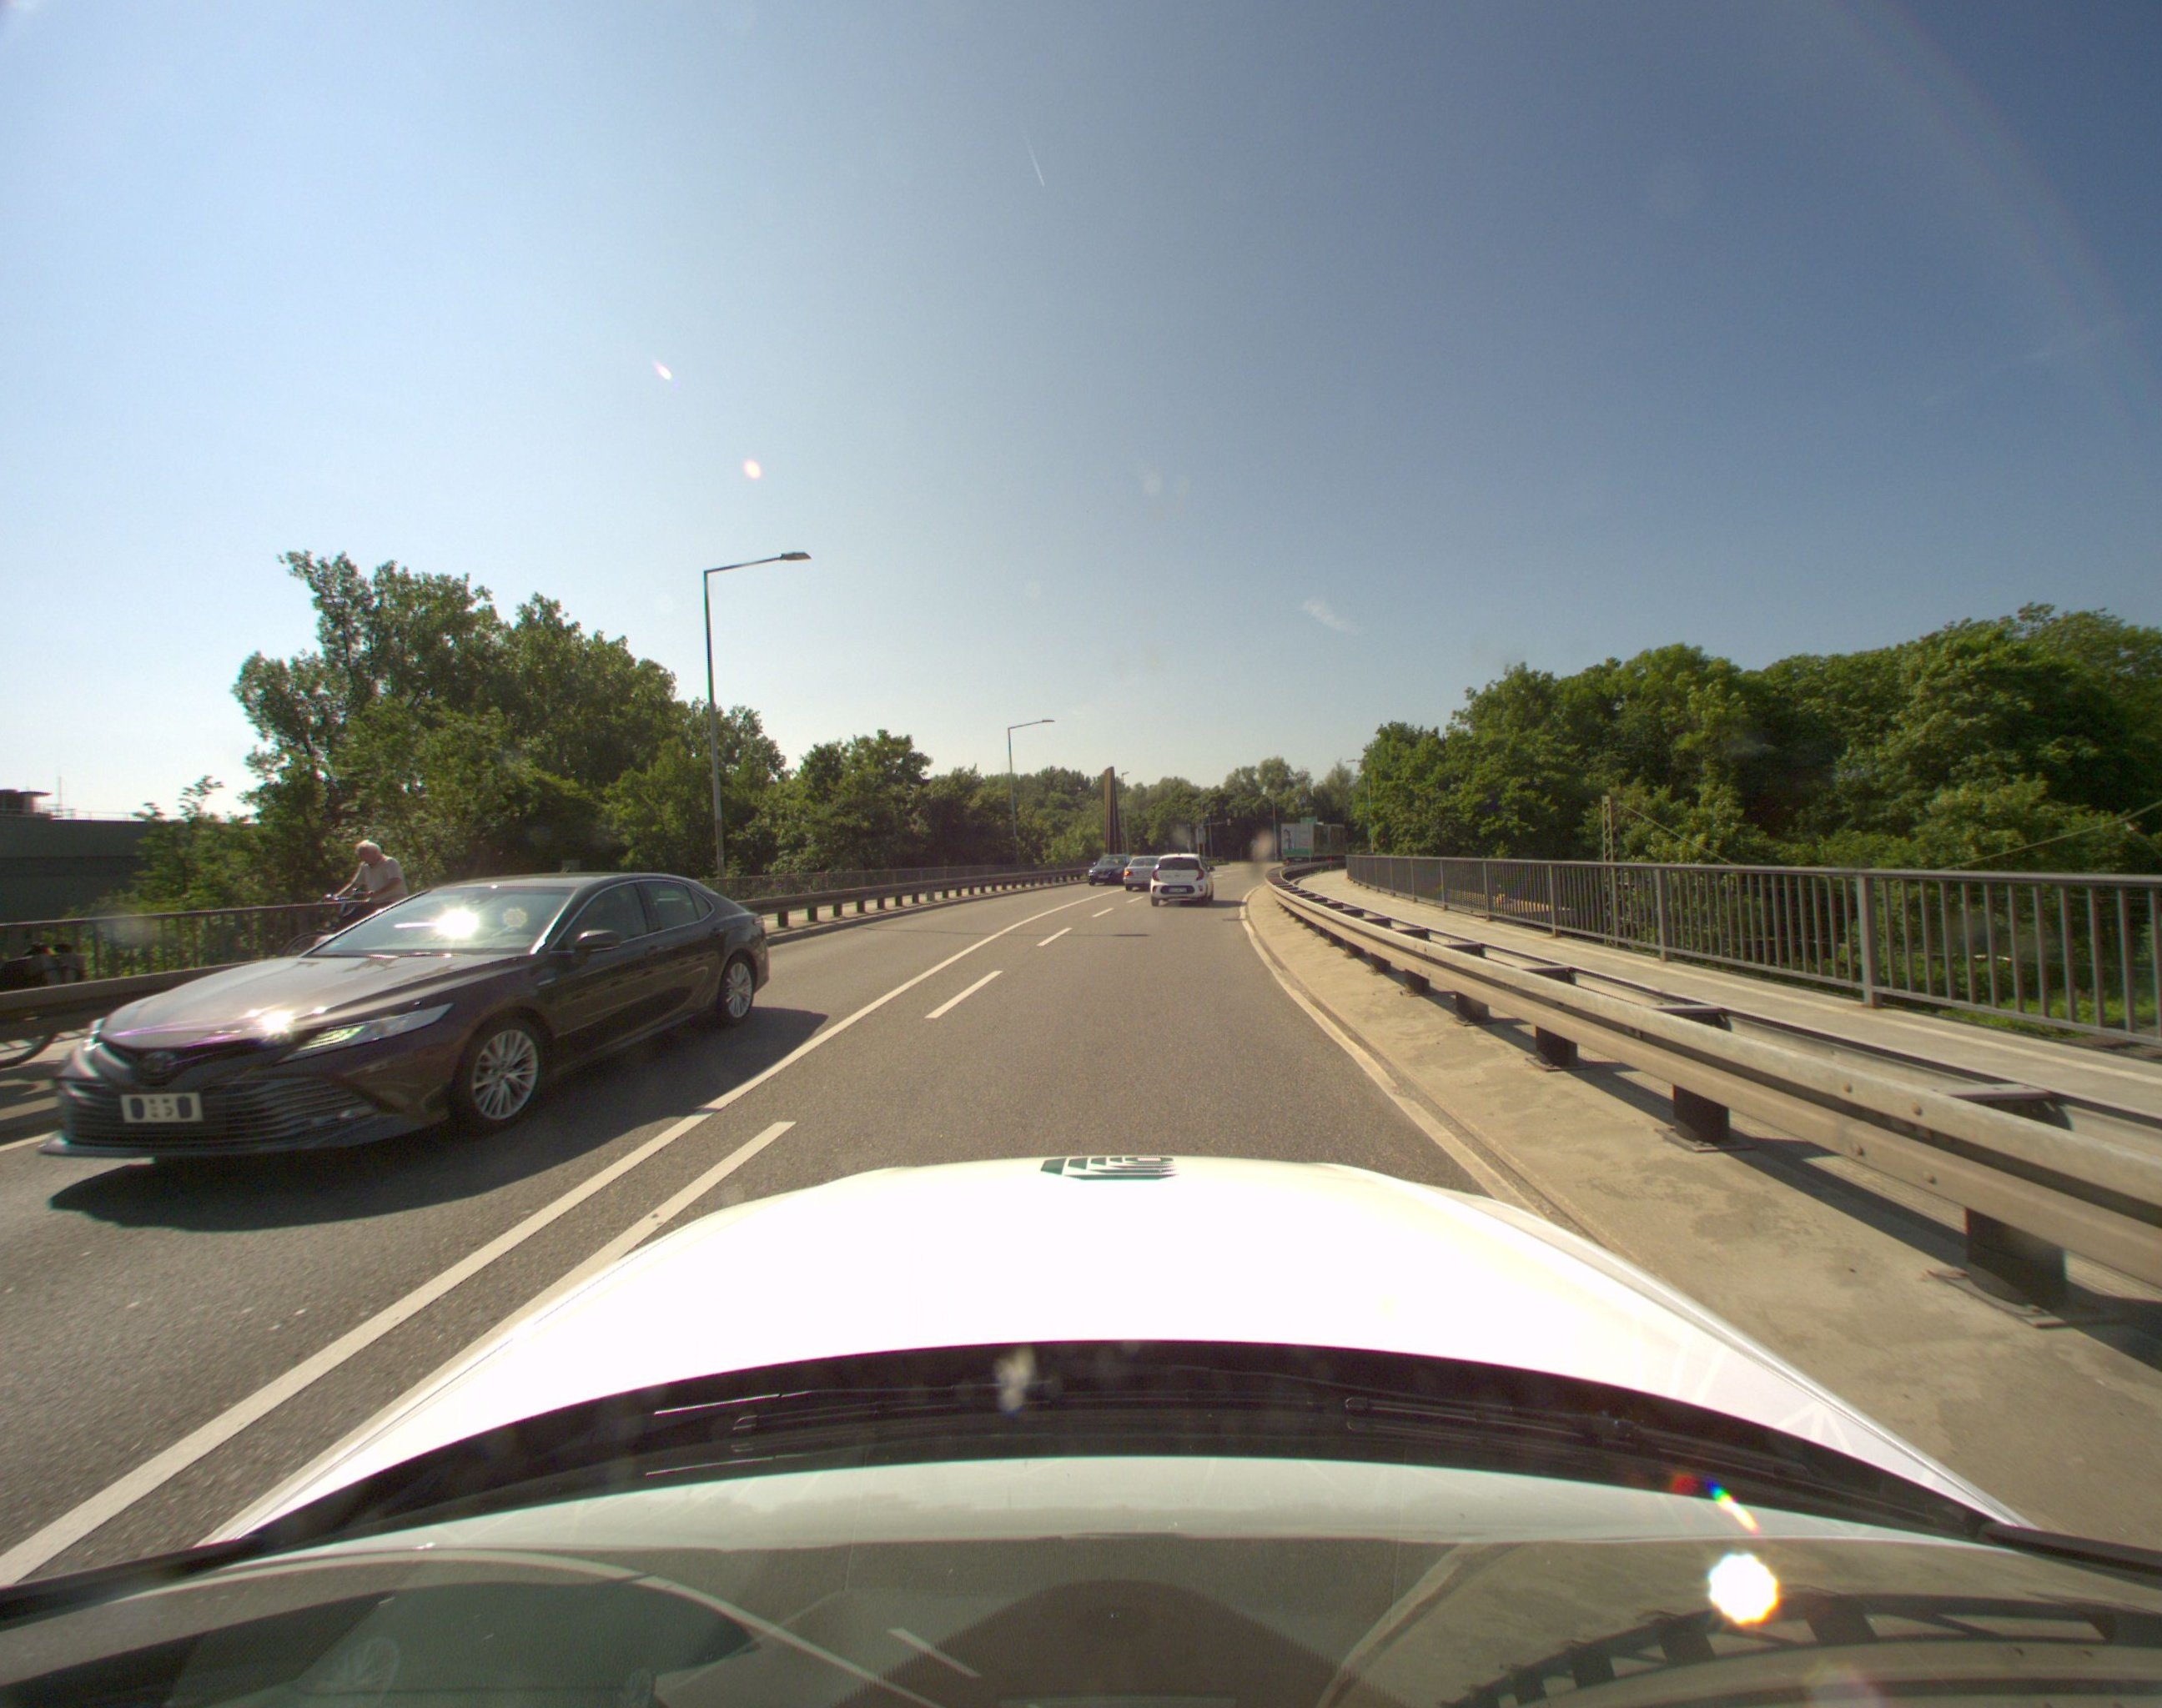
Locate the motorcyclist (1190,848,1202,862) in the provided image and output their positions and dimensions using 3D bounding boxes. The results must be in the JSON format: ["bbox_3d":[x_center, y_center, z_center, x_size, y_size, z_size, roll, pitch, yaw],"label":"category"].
[{"bbox_3d":[16.716,0.141,118.318,0.897,1.870,1.447,0,-2,-40],"label":"motorcyclist"}]

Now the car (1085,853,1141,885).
[{"bbox_3d":[1.665,0.721,40.556,1.842,1.442,4.534,-1,0,15],"label":"car"}]

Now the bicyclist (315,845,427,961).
[{"bbox_3d":[-8.591,0.577,9.892,0.486,1.329,0.947,-1,-1,3],"label":"bicyclist"}]

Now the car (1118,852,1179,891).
[{"bbox_3d":[2.906,0.670,34.092,1.926,1.486,4.916,-1,0,12],"label":"car"}]

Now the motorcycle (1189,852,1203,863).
[{"bbox_3d":[16.702,0.495,118.304,0.904,1.529,1.959,0,-2,-40],"label":"motorcycle"}]

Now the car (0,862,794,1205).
[{"bbox_3d":[-4.072,0.850,6.139,1.810,1.430,4.868,-2,0,3],"label":"car"}]

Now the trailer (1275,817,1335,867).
[{"bbox_3d":[18.370,-0.961,66.432,3.194,3.758,7.871,1,1,26],"label":"trailer"}]

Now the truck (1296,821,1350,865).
[{"bbox_3d":[21.994,-1.017,73.654,3.230,3.758,8.420,1,1,26],"label":"truck"}]

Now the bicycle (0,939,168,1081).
[{"bbox_3d":[-8.075,1.166,5.764,0.924,0.891,1.969,-1,0,4],"label":"bicycle"}]

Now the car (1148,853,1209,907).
[{"bbox_3d":[3.012,0.722,24.644,1.692,1.494,4.009,0,0,8],"label":"car"}]

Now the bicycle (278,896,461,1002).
[{"bbox_3d":[-8.578,1.102,9.924,0.571,1.046,1.712,-4,0,4],"label":"bicycle"}]

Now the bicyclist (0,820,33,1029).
[{"bbox_3d":[-8.109,0.518,5.503,0.657,1.496,1.018,-1,1,6],"label":"bicyclist"}]
